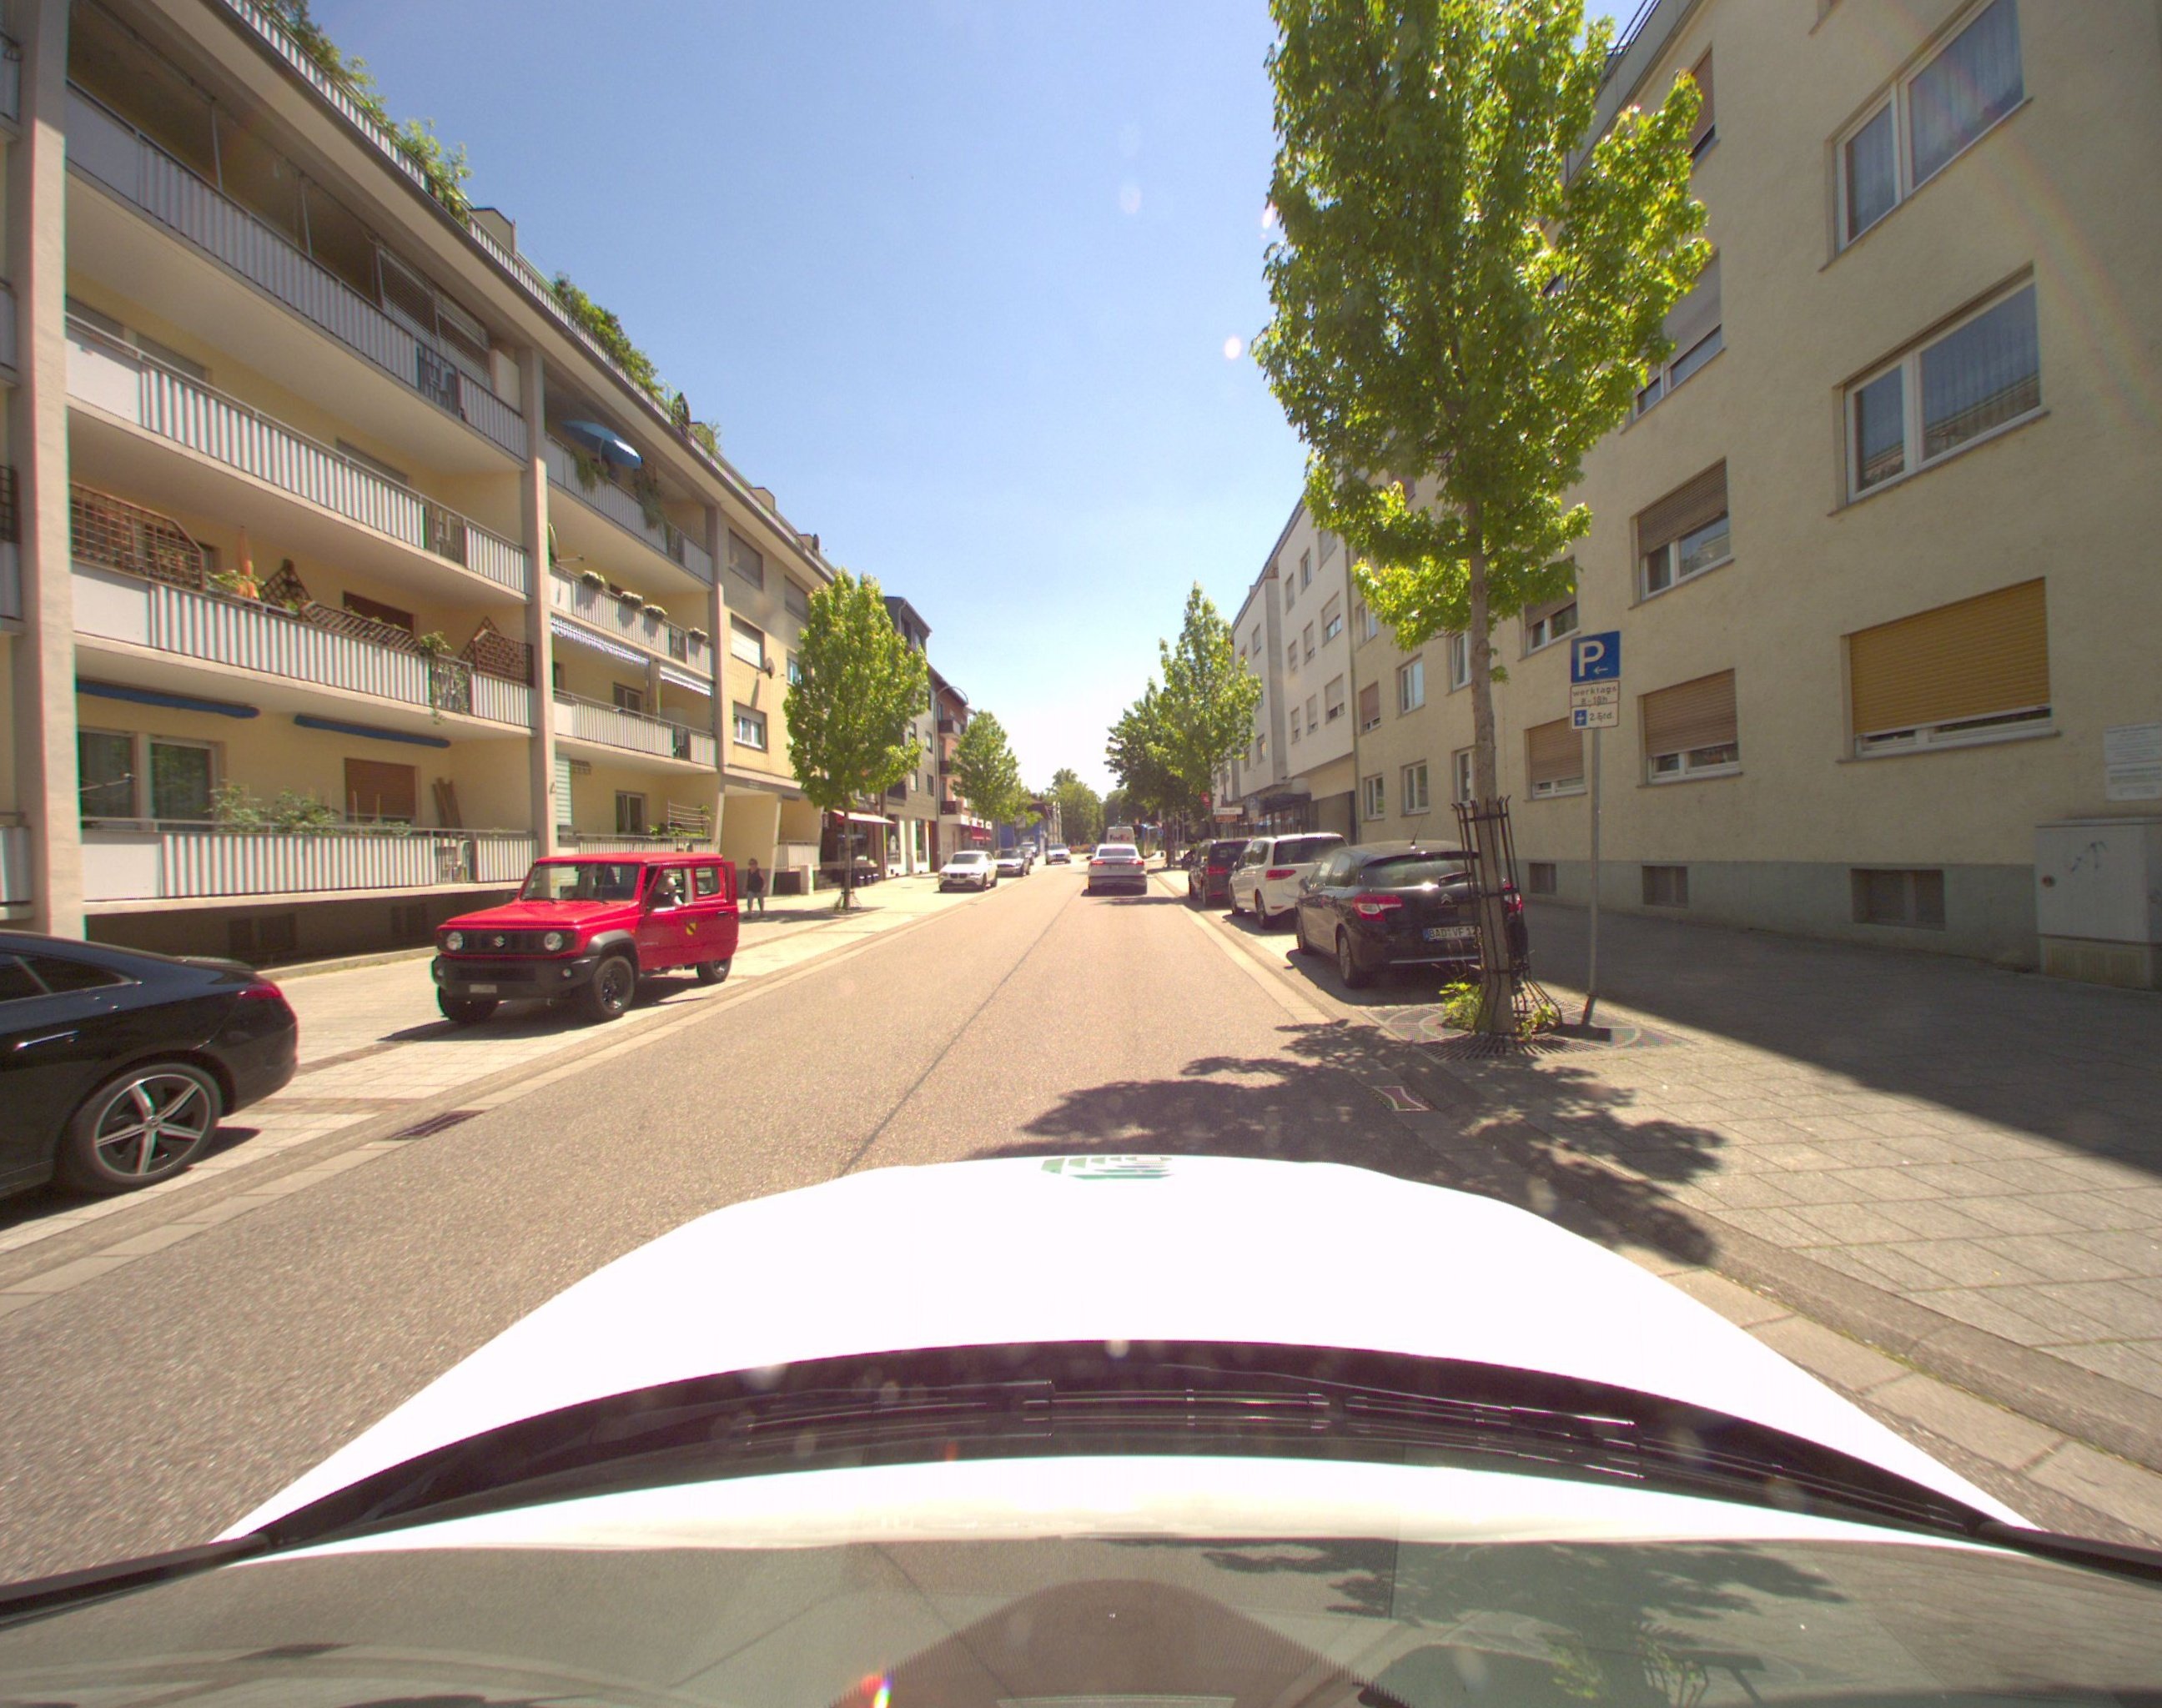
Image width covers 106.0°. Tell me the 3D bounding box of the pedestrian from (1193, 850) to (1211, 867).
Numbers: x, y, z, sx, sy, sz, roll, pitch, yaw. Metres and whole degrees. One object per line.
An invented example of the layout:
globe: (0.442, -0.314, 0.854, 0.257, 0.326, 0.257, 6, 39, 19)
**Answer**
pedestrian: (6.305, 0.239, 42.586, 0.901, 0.879, 0.649, -2, 0, 7)

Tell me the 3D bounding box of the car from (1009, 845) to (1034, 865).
car: (-4.679, 0.035, 64.819, 1.833, 1.495, 3.996, -2, 1, -3)

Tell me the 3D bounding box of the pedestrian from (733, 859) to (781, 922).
pedestrian: (-8.009, 0.881, 20.160, 0.694, 1.492, 1.098, 1, 1, 2)

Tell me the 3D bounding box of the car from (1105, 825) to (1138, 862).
car: (2.756, -0.685, 55.693, 2.147, 2.441, 5.287, 0, 0, 3)

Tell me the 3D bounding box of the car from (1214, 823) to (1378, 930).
car: (3.993, 0.350, 16.003, 1.890, 1.674, 4.690, -4, 1, 0)

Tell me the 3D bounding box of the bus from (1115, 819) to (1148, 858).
bus: (4.513, -1.300, 71.795, 2.648, 3.221, 7.311, 0, 0, 5)

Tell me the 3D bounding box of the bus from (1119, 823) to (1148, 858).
bus: (5.157, -1.282, 79.154, 2.648, 3.209, 7.462, 0, 0, 5)

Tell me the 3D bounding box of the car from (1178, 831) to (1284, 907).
car: (3.791, 0.323, 21.360, 1.850, 1.674, 4.536, -4, 1, 0)

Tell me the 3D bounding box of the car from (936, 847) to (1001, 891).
car: (-4.446, 0.534, 32.742, 1.745, 1.618, 4.405, 0, 1, 3)

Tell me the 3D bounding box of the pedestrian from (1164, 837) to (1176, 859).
pedestrian: (6.348, -0.443, 58.374, 0.715, 1.502, 0.581, -2, 0, -5)

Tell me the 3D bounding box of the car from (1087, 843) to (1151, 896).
car: (1.232, 0.466, 27.527, 1.986, 1.633, 4.001, -1, 1, 1)

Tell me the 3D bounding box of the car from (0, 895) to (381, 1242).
car: (-5.735, 1.010, 2.965, 1.889, 1.417, 5.050, 0, 1, 2)

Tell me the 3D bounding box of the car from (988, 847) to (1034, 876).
car: (-3.677, 0.359, 43.596, 1.744, 1.453, 4.406, 0, 1, 4)

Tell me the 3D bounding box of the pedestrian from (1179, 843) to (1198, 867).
pedestrian: (5.662, 0.065, 43.077, 0.902, 1.236, 0.648, -2, 0, 1)

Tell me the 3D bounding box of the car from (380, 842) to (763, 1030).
car: (-5.427, 0.722, 9.436, 1.746, 1.702, 4.103, 0, 1, 2)

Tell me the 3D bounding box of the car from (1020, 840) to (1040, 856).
car: (-5.706, -0.640, 90.914, 1.865, 1.757, 3.986, 0, 0, -10)

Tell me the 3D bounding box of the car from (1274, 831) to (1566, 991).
car: (3.692, 0.507, 9.865, 1.888, 1.438, 4.549, -2, 1, 4)

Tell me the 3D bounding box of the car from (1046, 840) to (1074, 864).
car: (-1.652, -0.171, 64.499, 1.849, 1.692, 4.152, -3, 0, 2)
